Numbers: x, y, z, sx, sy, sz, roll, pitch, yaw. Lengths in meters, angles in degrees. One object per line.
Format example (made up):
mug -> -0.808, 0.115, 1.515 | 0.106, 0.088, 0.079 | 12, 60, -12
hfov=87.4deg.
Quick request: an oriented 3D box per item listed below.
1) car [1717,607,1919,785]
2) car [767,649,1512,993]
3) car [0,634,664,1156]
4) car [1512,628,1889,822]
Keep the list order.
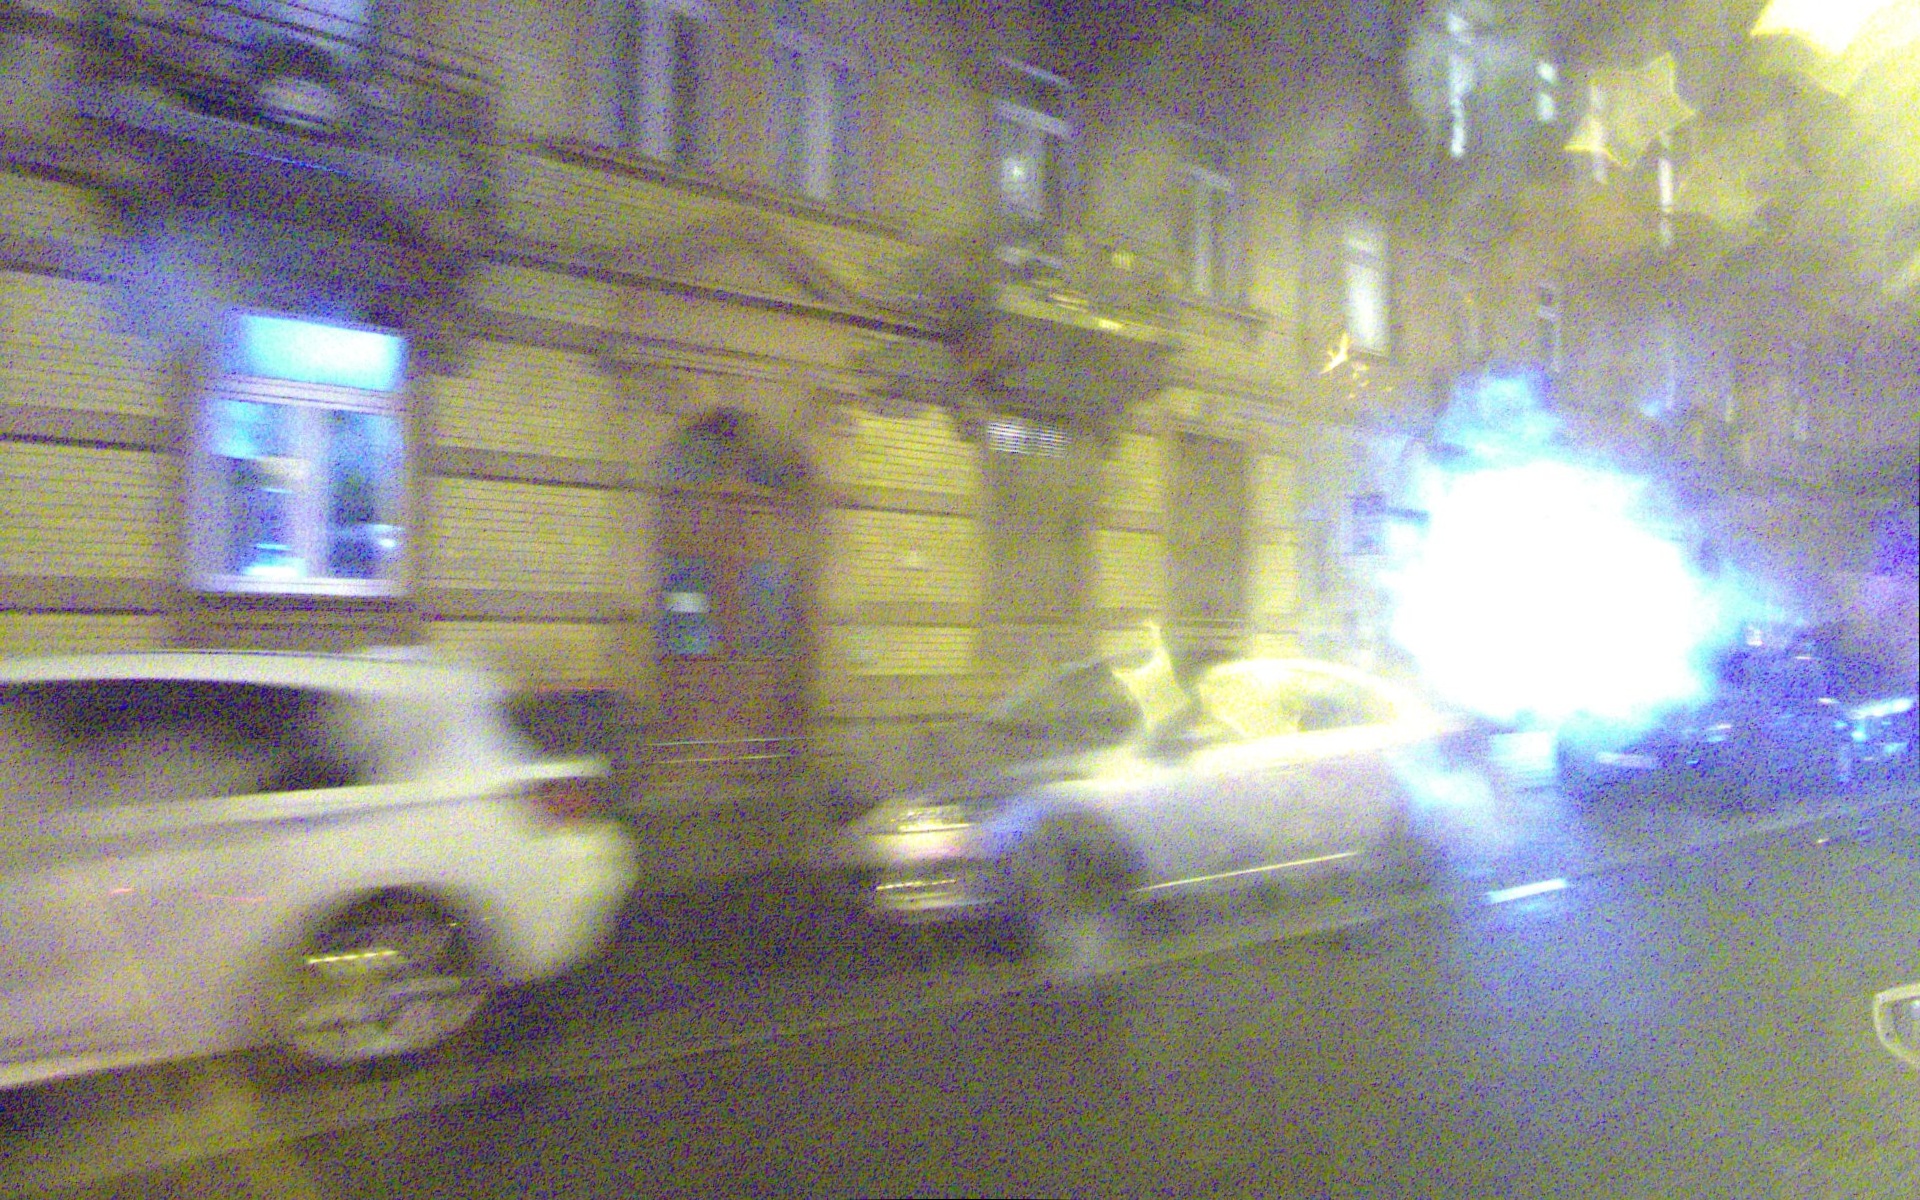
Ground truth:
car -> 11.624, 1.065, 12.454 | 4.772, 1.853, 1.894 | 1, -2, -30
car -> 1.255, 1.032, 6.187 | 4.501, 1.410, 1.719 | 1, -2, -30
car -> -3.371, 0.860, 3.492 | 4.222, 1.473, 1.719 | 1, -2, -30
car -> 7.401, 1.089, 9.994 | 3.676, 1.595, 1.719 | 1, -2, -30
